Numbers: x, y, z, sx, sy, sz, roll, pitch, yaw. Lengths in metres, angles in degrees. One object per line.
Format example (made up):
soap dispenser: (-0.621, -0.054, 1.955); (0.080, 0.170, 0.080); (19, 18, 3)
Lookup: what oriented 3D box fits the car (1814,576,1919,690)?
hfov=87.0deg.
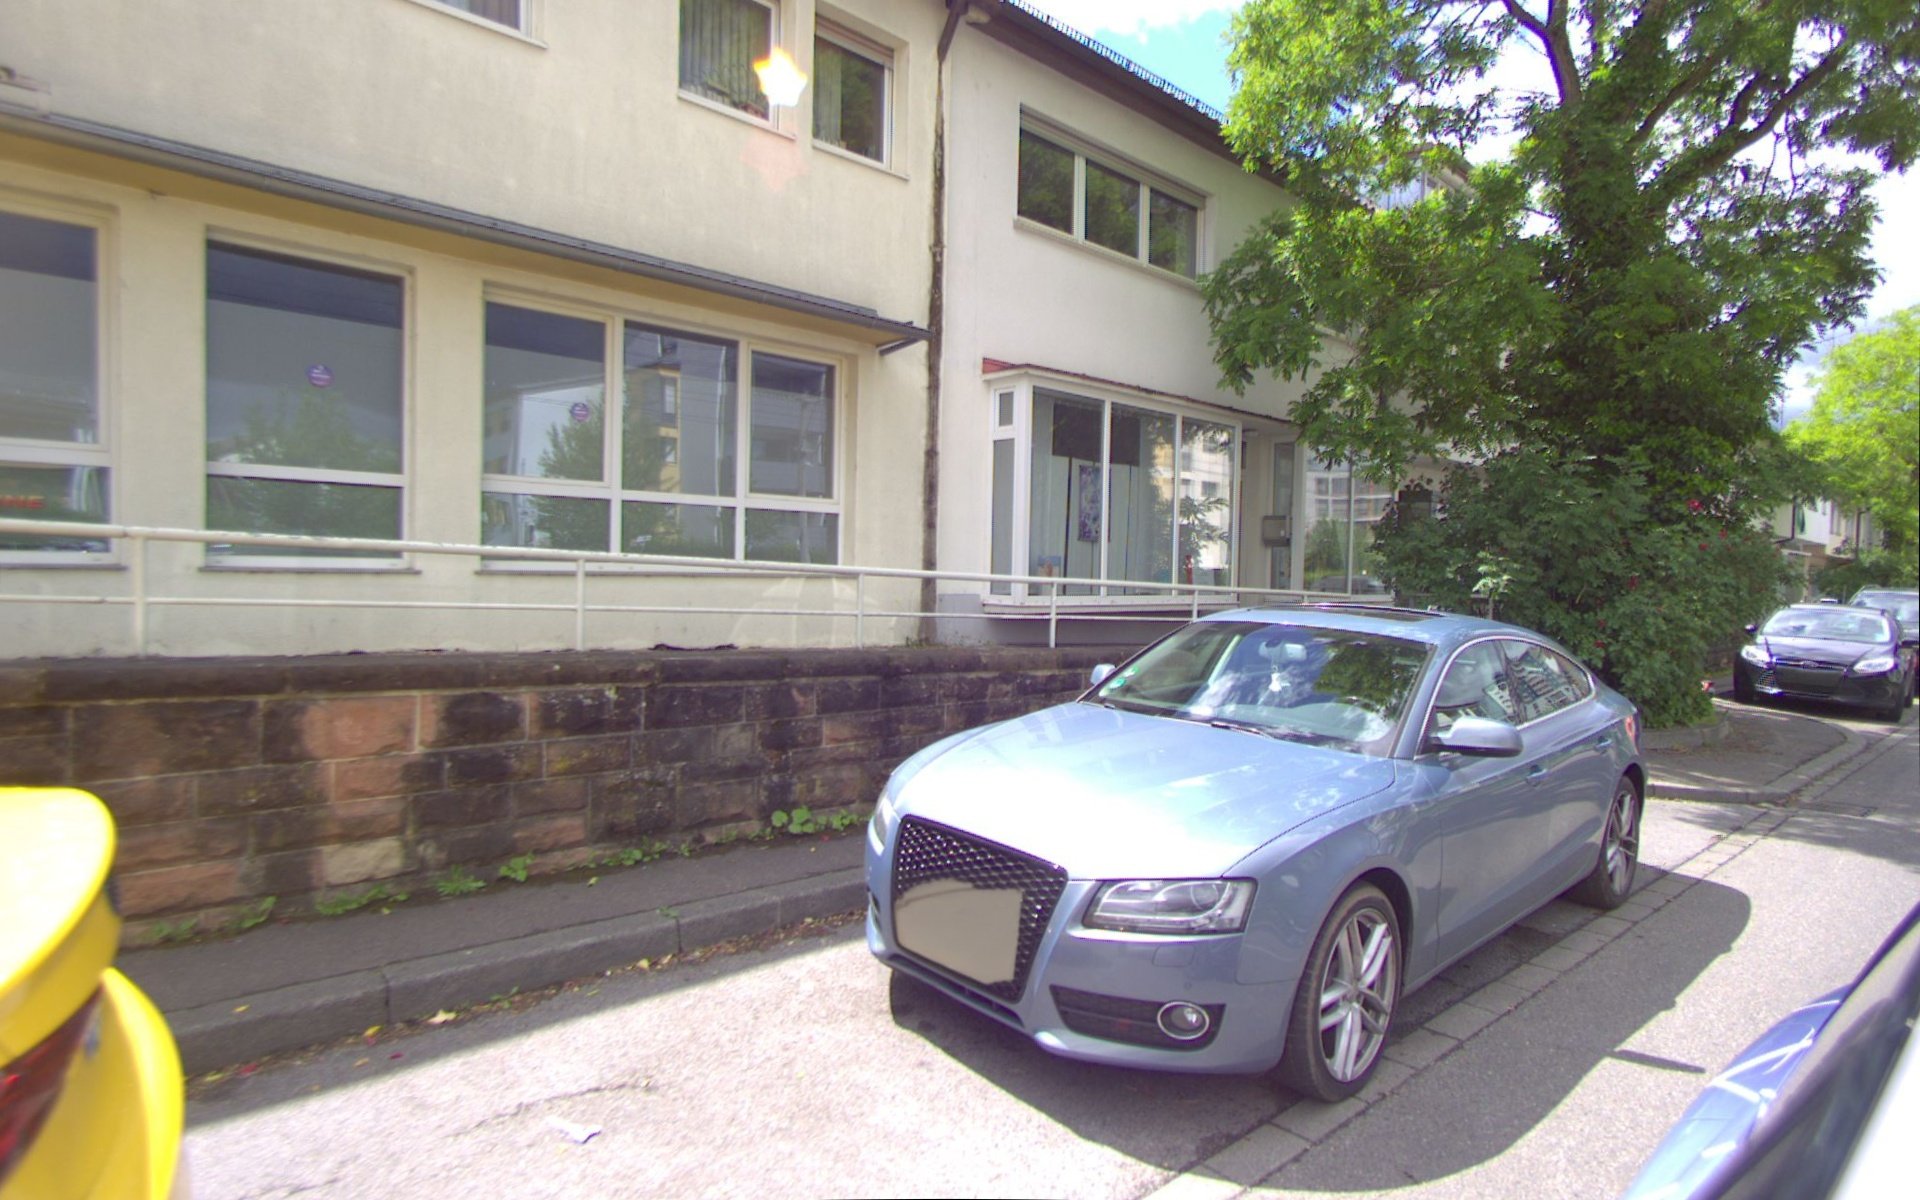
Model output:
car: (17.230, 0.539, 18.215); (4.986, 1.810, 2.020); (0, 2, -41)

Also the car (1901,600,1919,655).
car: (26.036, 0.745, 26.222); (3.927, 1.365, 1.777); (0, 4, -38)

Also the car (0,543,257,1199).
car: (-2.903, 0.659, 0.305); (4.265, 1.460, 1.759); (0, 3, -41)

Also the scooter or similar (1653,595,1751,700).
scooter or similar: (9.643, 0.587, 13.195); (0.528, 1.258, 1.232); (3, 1, 13)

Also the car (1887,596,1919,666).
car: (22.201, 0.696, 22.706); (3.835, 1.459, 1.774); (0, 4, -44)

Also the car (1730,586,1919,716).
car: (12.619, 0.612, 14.460); (4.171, 1.524, 1.837); (0, 3, -43)

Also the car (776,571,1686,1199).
car: (1.568, 0.668, 4.452); (4.417, 1.460, 1.758); (0, 3, -43)
